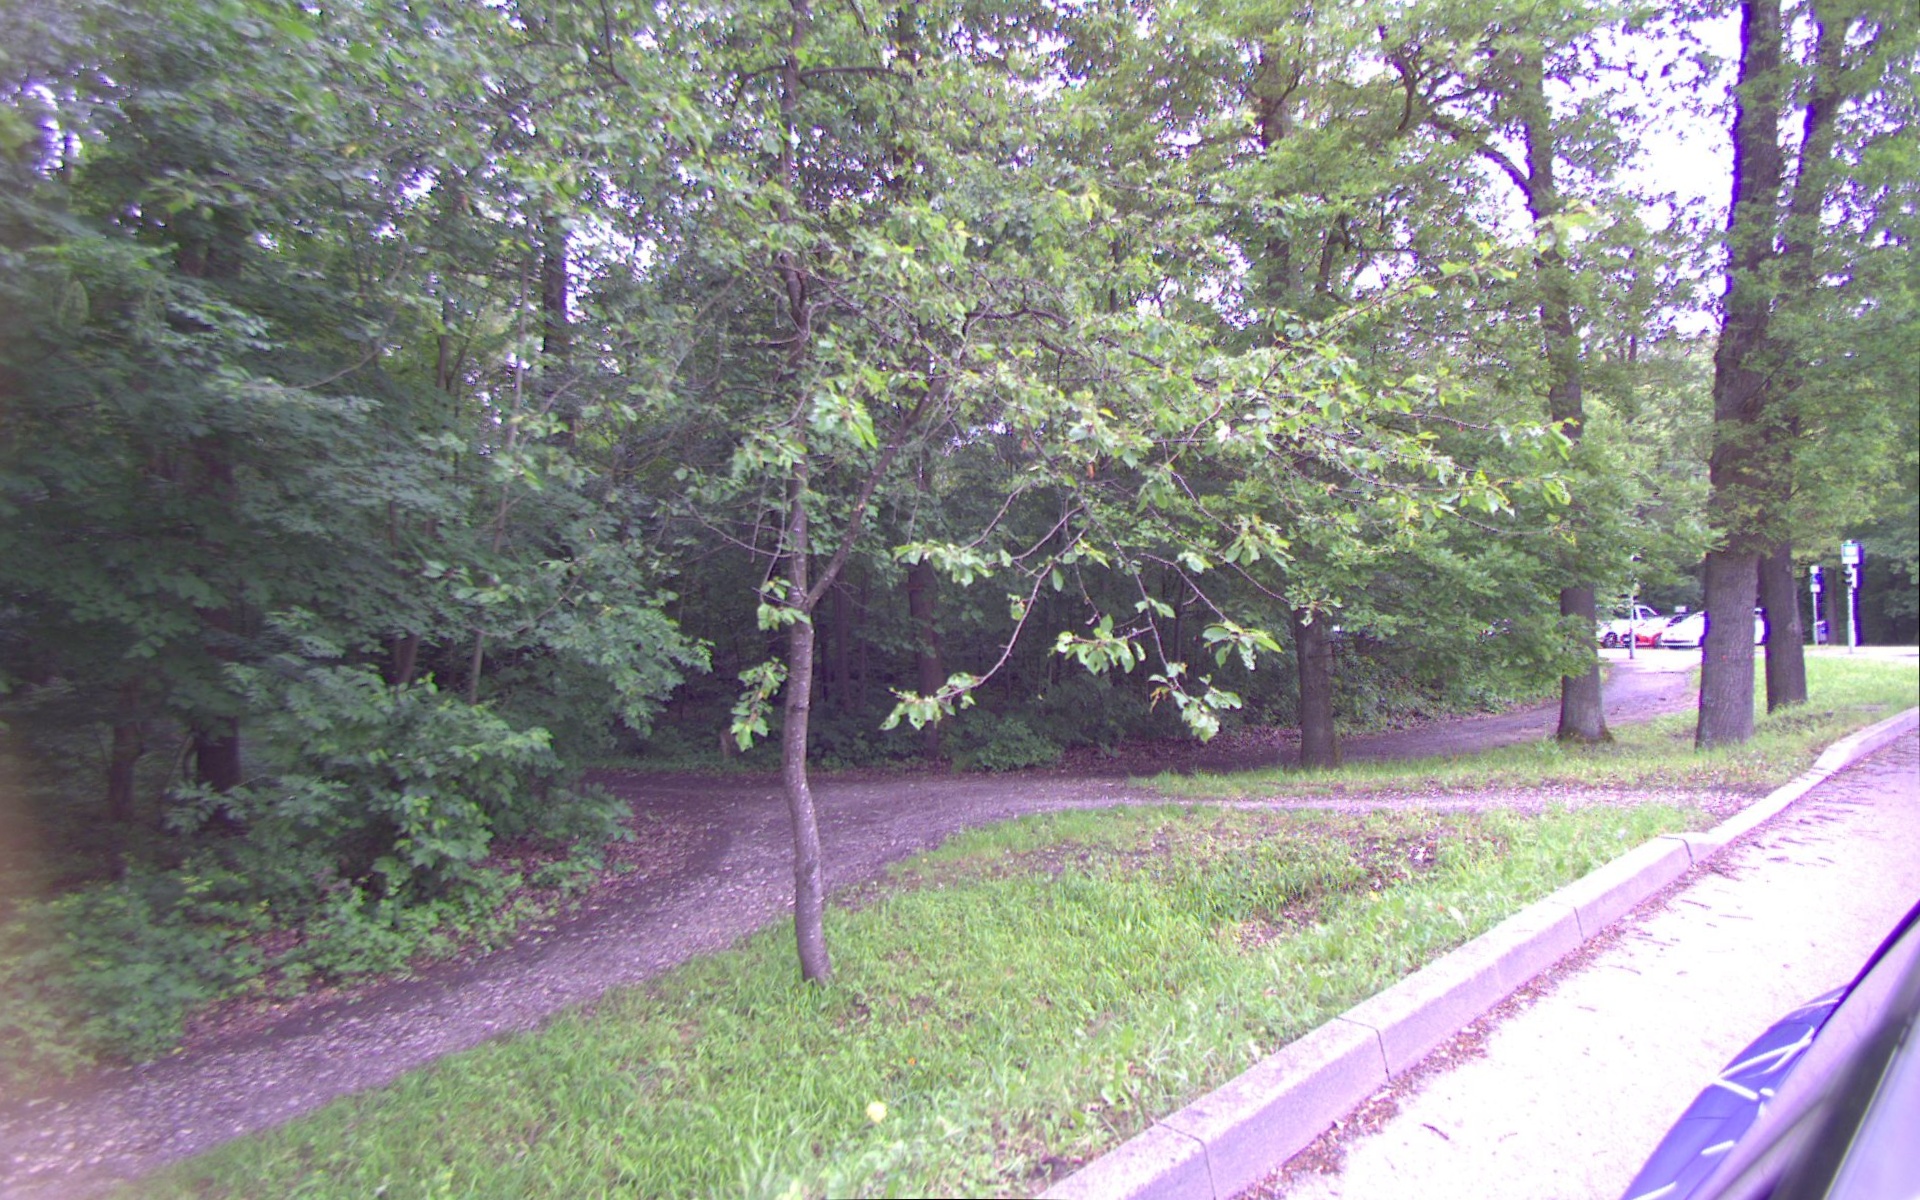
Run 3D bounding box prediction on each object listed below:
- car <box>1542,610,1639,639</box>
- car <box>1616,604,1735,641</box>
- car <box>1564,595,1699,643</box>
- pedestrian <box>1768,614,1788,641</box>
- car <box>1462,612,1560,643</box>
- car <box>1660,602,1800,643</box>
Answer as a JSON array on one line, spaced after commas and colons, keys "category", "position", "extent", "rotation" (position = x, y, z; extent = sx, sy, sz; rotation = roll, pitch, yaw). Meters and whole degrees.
[{"category": "car", "position": [30.756, 1.203, 49.428], "extent": [3.853, 1.345, 1.724], "rotation": [0, -2, -12]}, {"category": "car", "position": [31.275, 0.993, 44.296], "extent": [3.919, 1.572, 1.896], "rotation": [-1, -2, -6]}, {"category": "car", "position": [31.079, 0.903, 46.898], "extent": [5.076, 1.983, 2.065], "rotation": [-2, -2, -10]}, {"category": "pedestrian", "position": [50.479, 1.708, 62.451], "extent": [1.018, 1.672, 0.831], "rotation": [2, -4, -44]}, {"category": "car", "position": [29.421, 1.470, 54.036], "extent": [4.437, 1.578, 1.846], "rotation": [0, -2, -13]}, {"category": "car", "position": [31.734, 0.937, 41.785], "extent": [4.331, 1.572, 2.001], "rotation": [-1, -2, -6]}]
